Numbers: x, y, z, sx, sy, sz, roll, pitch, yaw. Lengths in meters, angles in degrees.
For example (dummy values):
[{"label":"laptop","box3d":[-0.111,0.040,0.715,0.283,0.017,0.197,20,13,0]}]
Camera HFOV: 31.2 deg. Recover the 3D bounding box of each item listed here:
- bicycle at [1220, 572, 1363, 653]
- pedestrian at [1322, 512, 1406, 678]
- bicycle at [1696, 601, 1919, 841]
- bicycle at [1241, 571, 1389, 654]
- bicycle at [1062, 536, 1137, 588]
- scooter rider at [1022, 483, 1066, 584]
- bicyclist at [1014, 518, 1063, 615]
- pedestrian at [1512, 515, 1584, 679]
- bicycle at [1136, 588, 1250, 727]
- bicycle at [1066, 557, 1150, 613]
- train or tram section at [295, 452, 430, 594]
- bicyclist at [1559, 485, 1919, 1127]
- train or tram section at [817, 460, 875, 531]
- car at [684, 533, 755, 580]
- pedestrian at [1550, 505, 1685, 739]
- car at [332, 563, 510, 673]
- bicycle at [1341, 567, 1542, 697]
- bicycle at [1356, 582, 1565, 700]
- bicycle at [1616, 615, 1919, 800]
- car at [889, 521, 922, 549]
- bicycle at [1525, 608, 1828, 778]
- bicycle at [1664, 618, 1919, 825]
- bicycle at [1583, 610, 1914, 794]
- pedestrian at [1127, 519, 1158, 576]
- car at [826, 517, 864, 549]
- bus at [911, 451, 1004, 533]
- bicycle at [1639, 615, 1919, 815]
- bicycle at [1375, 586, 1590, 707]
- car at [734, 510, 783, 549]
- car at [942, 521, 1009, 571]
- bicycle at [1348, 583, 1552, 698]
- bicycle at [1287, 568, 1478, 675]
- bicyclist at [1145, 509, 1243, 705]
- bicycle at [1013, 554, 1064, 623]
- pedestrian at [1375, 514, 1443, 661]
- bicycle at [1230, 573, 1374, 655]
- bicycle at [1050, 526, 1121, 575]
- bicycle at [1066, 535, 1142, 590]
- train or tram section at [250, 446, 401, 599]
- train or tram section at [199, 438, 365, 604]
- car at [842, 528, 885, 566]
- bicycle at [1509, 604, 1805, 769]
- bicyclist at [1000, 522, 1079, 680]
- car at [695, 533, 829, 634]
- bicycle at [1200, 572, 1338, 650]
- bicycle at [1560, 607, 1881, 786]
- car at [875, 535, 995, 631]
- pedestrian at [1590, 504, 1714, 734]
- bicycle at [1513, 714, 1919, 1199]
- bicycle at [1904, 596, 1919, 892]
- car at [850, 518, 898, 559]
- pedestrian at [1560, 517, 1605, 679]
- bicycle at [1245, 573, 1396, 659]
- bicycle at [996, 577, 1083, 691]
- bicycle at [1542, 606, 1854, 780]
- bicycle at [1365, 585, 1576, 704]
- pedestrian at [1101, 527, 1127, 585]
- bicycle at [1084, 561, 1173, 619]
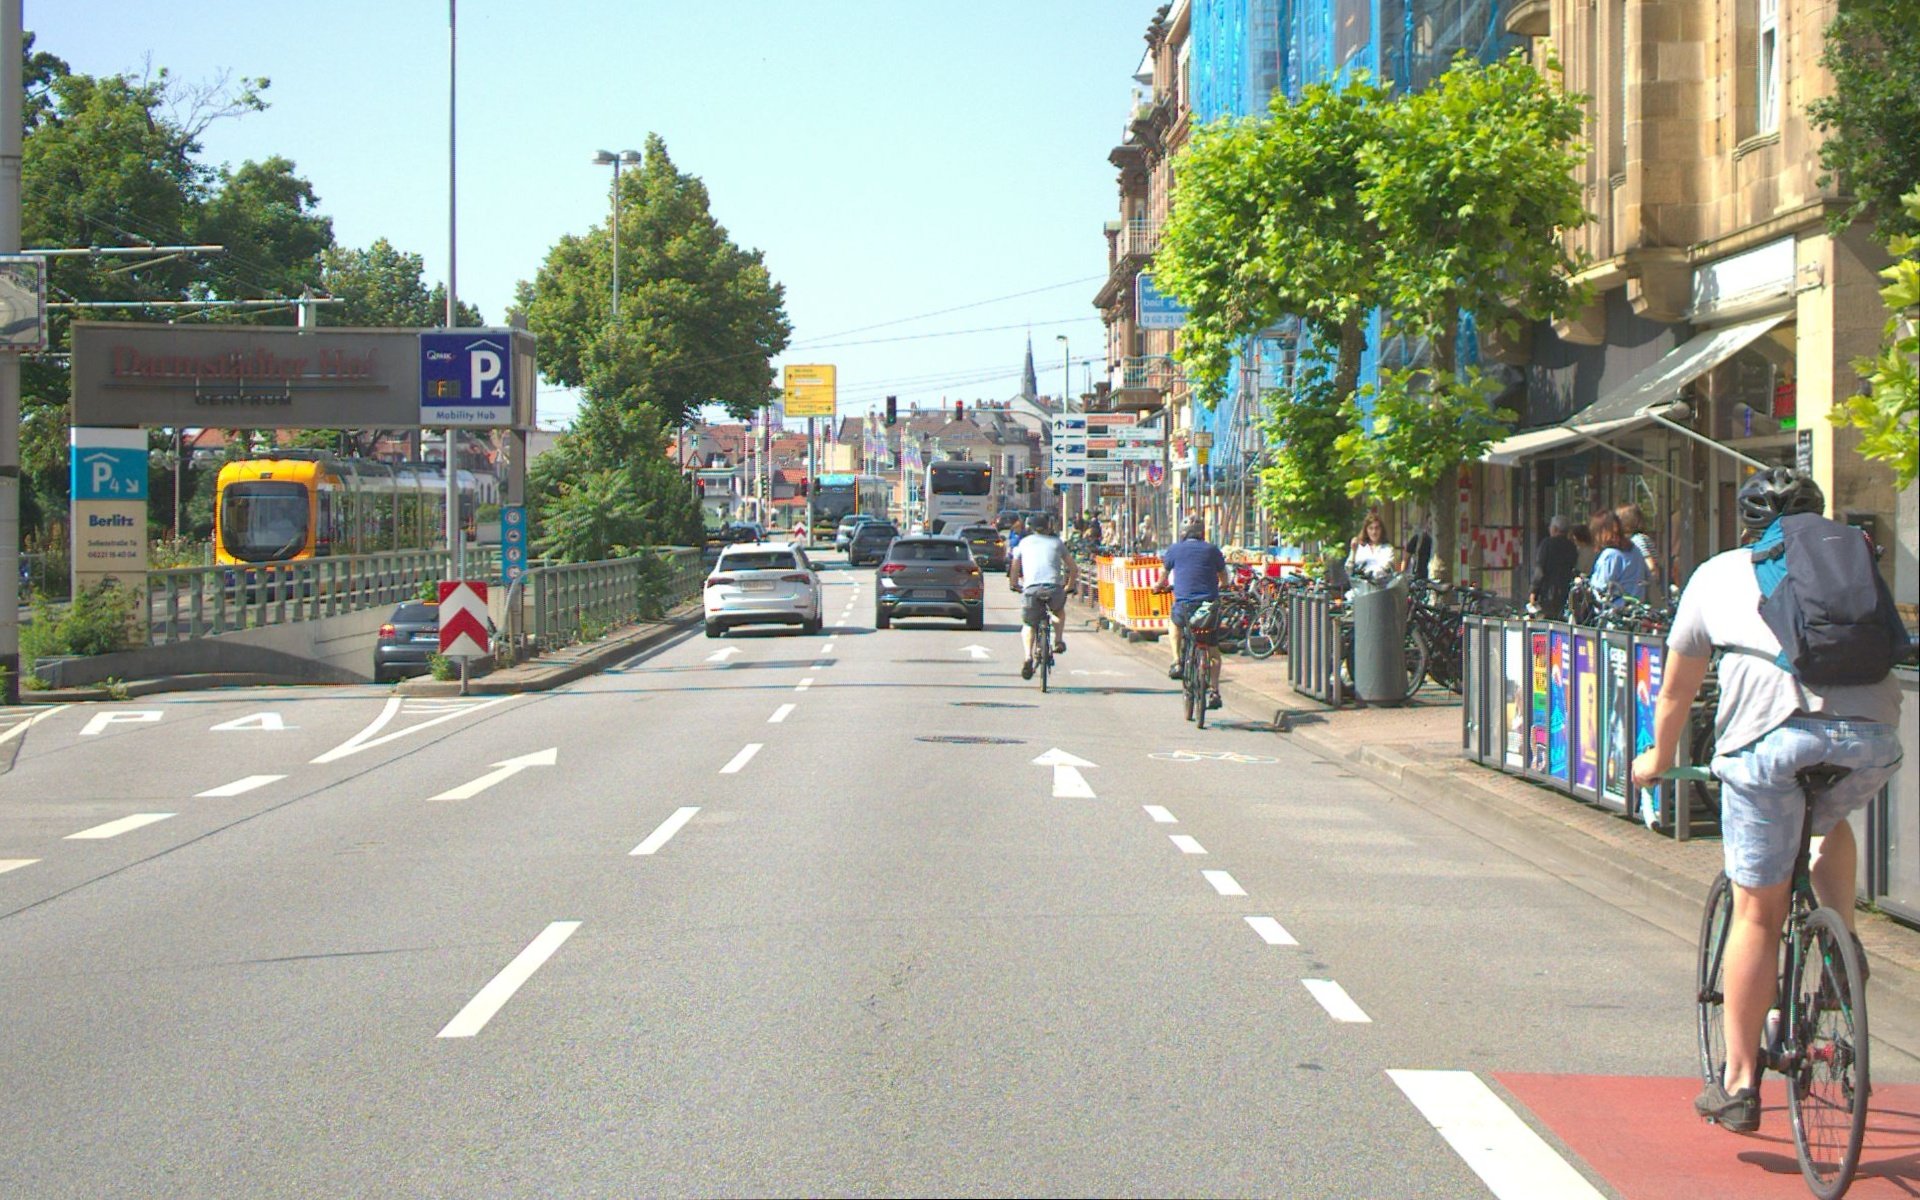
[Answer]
[{"label":"bicycle","box3d":[4.231,0.157,43.941,1.752,1.014,0.483,0,1,-2]},{"label":"pedestrian","box3d":[4.114,-0.054,35.022,0.656,1.677,0.653,0,0,-14]},{"label":"bicycle","box3d":[4.540,0.588,16.832,1.752,1.143,0.483,0,1,-2]},{"label":"bicycle","box3d":[4.376,0.154,42.418,1.752,1.014,0.483,0,1,-9]},{"label":"bicycle","box3d":[3.258,-0.887,80.295,1.693,1.174,0.491,1,1,0]},{"label":"scooter rider","box3d":[1.467,-1.162,60.049,0.688,1.723,0.778,2,1,-1]},{"label":"bicyclist","box3d":[1.292,-0.556,56.538,0.688,1.571,1.049,2,1,-2]},{"label":"pedestrian","box3d":[6.099,-0.029,35.666,0.498,1.677,0.537,-2,0,-18]},{"label":"bicycle","box3d":[1.961,0.467,29.139,0.734,1.089,1.911,2,1,-2]},{"label":"bicycle","box3d":[3.210,-0.326,74.622,1.771,1.174,0.608,1,1,0]},{"label":"train or tram section","box3d":[-15.748,-2.022,90.893,2.613,3.569,5.357,2,1,-1]},{"label":"bicyclist","box3d":[1.964,0.466,8.471,0.688,1.458,1.143,2,1,-2]},{"label":"train or tram section","box3d":[-6.110,-5.484,182.551,2.822,3.569,10.034,2,1,-3]},{"label":"car","box3d":[-7.236,-1.323,103.895,1.815,1.327,4.000,2,1,0]},{"label":"pedestrian","box3d":[4.675,0.147,24.453,0.695,1.620,0.702,-1,1,-12]},{"label":"car","box3d":[-8.070,0.244,51.767,1.993,1.503,4.000,2,1,0]},{"label":"bicycle","box3d":[4.439,0.289,31.770,1.752,1.177,0.579,0,1,-2]},{"label":"bicycle","box3d":[4.439,0.361,30.552,1.752,1.014,0.587,0,1,-2]},{"label":"bicycle","box3d":[4.498,0.583,18.792,1.717,0.981,0.483,0,1,-2]},{"label":"car","box3d":[-2.624,-3.109,165.241,1.451,1.296,3.342,2,1,-3]},{"label":"bicycle","box3d":[4.400,0.567,21.158,1.752,1.014,0.483,0,1,-2]},{"label":"bicycle","box3d":[4.492,0.610,17.385,1.752,1.014,0.483,0,1,-2]},{"label":"bicycle","box3d":[4.466,0.572,19.515,1.752,1.014,0.483,0,1,-2]},{"label":"pedestrian","box3d":[5.416,-1.557,102.042,0.755,1.650,0.837,-3,0,-1]},{"label":"car","box3d":[-4.937,-2.882,147.720,1.451,1.296,4.000,2,1,0]},{"label":"bus","box3d":[-0.139,-3.850,124.603,2.969,2.767,8.642,2,1,-2]},{"label":"bicycle","box3d":[4.491,0.598,18.014,1.752,1.014,0.483,0,1,-2]},{"label":"bicycle","box3d":[4.461,0.394,29.404,1.752,1.014,0.483,0,1,-2]},{"label":"car","box3d":[-7.095,-2.487,121.350,1.451,1.296,4.000,2,1,0]},{"label":"car","box3d":[0.485,-1.707,108.046,1.993,1.487,4.000,2,1,0]},{"label":"bicycle","box3d":[4.435,0.362,31.169,1.752,1.014,0.557,0,1,-2]},{"label":"bicycle","box3d":[4.163,0.200,33.891,1.754,1.014,0.657,1,1,22]},{"label":"bicyclist","box3d":[1.976,0.052,29.161,0.688,1.610,0.918,2,1,-2]},{"label":"bicycle","box3d":[1.284,-0.195,56.538,0.734,1.089,1.898,2,1,-1]},{"label":"pedestrian","box3d":[5.710,-0.163,43.774,0.814,1.842,0.891,-1,0,7]},{"label":"bicycle","box3d":[4.307,0.170,43.336,1.752,1.014,0.483,0,1,-2]},{"label":"bicycle","box3d":[3.071,-1.221,84.199,1.693,1.174,0.609,-1,2,0]},{"label":"bicycle","box3d":[3.291,-0.859,78.846,1.693,1.236,0.608,1,1,0]},{"label":"train or tram section","box3d":[-15.664,-1.917,85.180,2.613,3.569,6.104,2,1,-1]},{"label":"train or tram section","box3d":[-15.535,-1.803,79.091,2.613,3.569,6.104,2,1,-1]},{"label":"car","box3d":[-3.526,-1.939,125.286,1.451,1.296,3.342,2,1,-3]},{"label":"bicycle","box3d":[4.387,0.540,21.675,1.752,1.014,0.483,0,1,-2]},{"label":"bicyclist","box3d":[0.807,0.002,35.027,0.688,1.571,1.049,2,1,-2]},{"label":"car","box3d":[-3.121,-0.286,54.836,1.858,1.502,4.000,-1,1,0]},{"label":"bicycle","box3d":[4.075,0.143,45.348,1.752,1.014,0.483,0,1,-2]},{"label":"bicycle","box3d":[4.433,0.561,20.086,1.752,1.014,0.483,0,1,-2]},{"label":"car","box3d":[-0.399,-0.311,57.258,1.873,1.487,4.000,2,1,0]},{"label":"pedestrian","box3d":[5.022,0.128,24.967,0.599,1.620,0.644,-3,1,-15]},{"label":"bicycle","box3d":[1.968,0.893,8.531,0.734,1.089,2.131,2,1,-2]},{"label":"bicycle","box3d":[4.602,0.565,13.308,1.752,1.143,0.483,0,1,-2]},{"label":"car","box3d":[-2.895,-2.069,115.385,1.451,1.296,3.342,2,1,-3]},{"label":"pedestrian","box3d":[6.499,-0.020,35.872,0.381,1.677,0.476,-1,1,18]},{"label":"bicycle","box3d":[4.347,0.189,41.485,1.752,1.014,0.483,0,1,-2]},{"label":"bicycle","box3d":[0.797,0.330,35.067,0.734,1.089,1.898,2,1,-2]},{"label":"bicycle","box3d":[4.416,0.551,20.612,1.752,1.014,0.483,0,1,-2]},{"label":"bicycle","box3d":[4.444,0.383,29.973,1.752,1.014,0.483,0,1,-2]},{"label":"pedestrian","box3d":[4.397,-1.262,98.032,0.654,1.615,0.815,-1,2,-2]},{"label":"bicycle","box3d":[3.304,-0.201,67.558,1.693,1.093,0.608,1,1,0]}]
